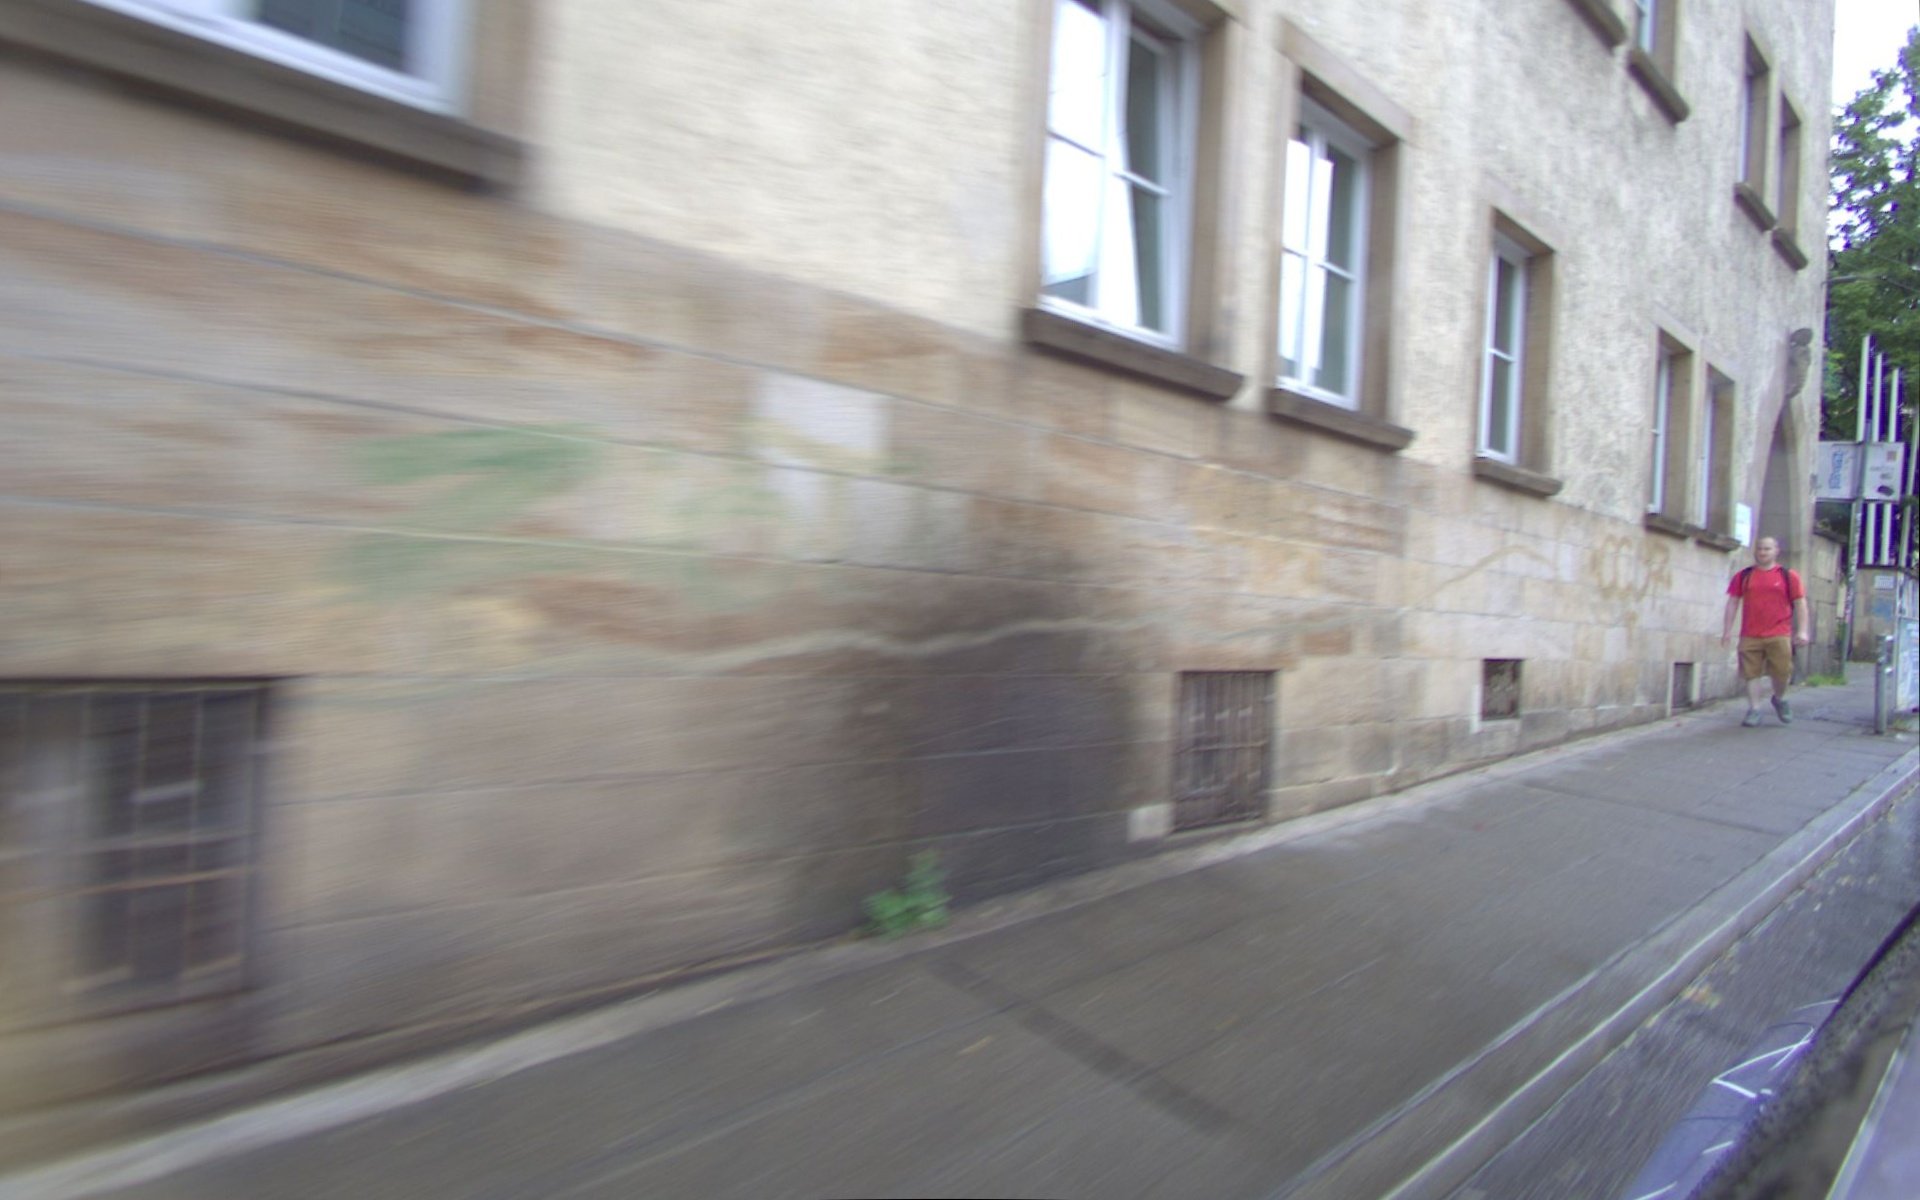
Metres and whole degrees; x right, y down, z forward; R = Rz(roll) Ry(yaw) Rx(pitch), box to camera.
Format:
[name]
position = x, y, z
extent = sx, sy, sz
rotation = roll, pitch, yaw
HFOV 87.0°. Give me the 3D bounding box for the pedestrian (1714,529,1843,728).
[pedestrian]
position = 7.823, 0.232, 9.675
extent = 0.804, 1.785, 0.748
rotation = -1, 4, -41
